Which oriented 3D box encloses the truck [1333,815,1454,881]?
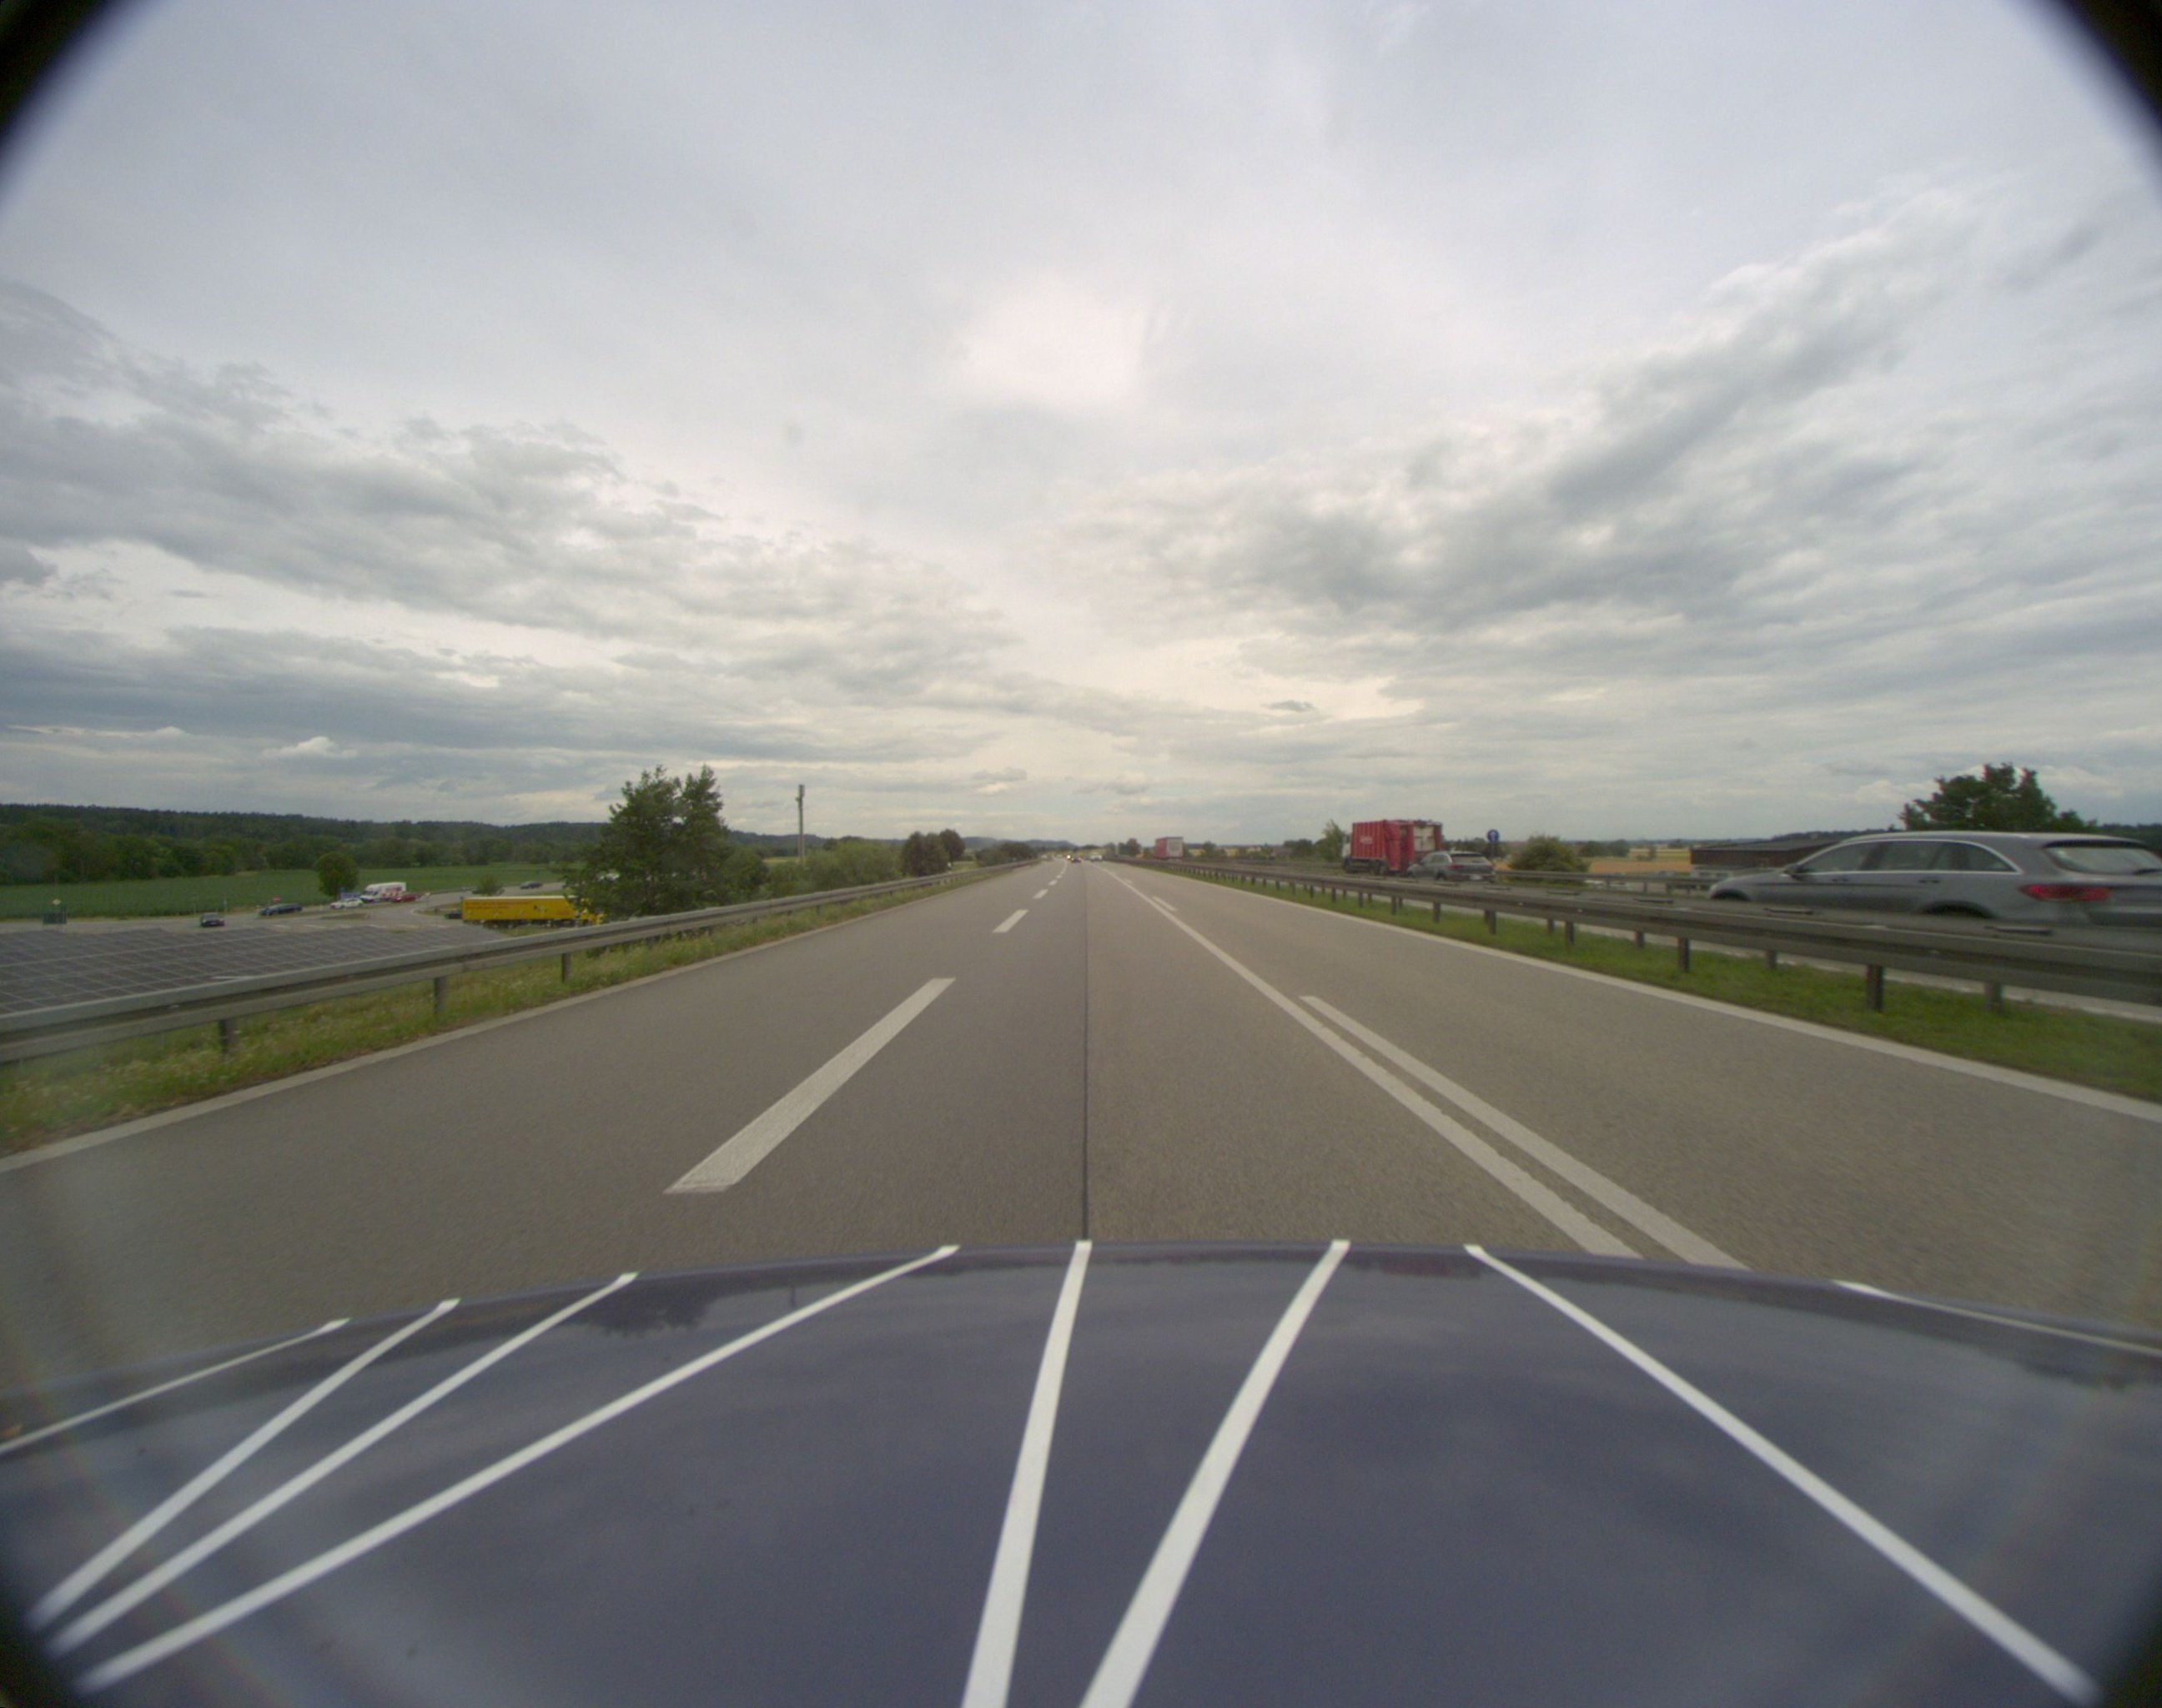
[{"bbox_3d":[18.790,-0.387,46.750,2.675,3.516,11.076,1,1,-1],"label":"truck"}]

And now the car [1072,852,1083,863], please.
[{"bbox_3d":[-0.570,0.604,133.081,1.850,1.850,4.000,0,0,0],"label":"car"}]

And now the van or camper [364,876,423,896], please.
[{"bbox_3d":[-120.616,5.594,133.501,2.798,2.891,7.132,-5,0,13],"label":"van or camper"}]

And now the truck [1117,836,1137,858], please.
[{"bbox_3d":[12.270,-1.877,204.780,4.334,5.528,14.037,-2,1,0],"label":"truck"}]

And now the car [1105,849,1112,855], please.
[{"bbox_3d":[8.086,-0.548,224.178,1.850,1.850,4.000,0,0,0],"label":"car"}]

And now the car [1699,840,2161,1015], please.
[{"bbox_3d":[10.362,0.654,9.221,1.896,1.579,4.762,0,0,1],"label":"car"}]

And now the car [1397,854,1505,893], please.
[{"bbox_3d":[13.883,0.665,28.889,1.830,1.338,4.783,0,0,1],"label":"car"}]

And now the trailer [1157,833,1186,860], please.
[{"bbox_3d":[14.340,-1.206,121.614,2.916,3.918,13.974,-2,1,0],"label":"trailer"}]

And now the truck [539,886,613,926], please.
[{"bbox_3d":[-63.837,6.575,96.210,7.137,4.759,3.018,-1,0,-3],"label":"truck"}]

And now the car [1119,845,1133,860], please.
[{"bbox_3d":[9.749,-0.349,164.637,2.545,3.252,7.208,-2,1,0],"label":"car"}]

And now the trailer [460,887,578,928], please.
[{"bbox_3d":[-70.752,6.688,95.832,12.303,4.759,3.018,-1,0,-3],"label":"trailer"}]

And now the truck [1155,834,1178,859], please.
[{"bbox_3d":[14.328,-1.265,127.866,2.917,3.924,6.324,-2,1,0],"label":"truck"}]

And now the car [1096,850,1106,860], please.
[{"bbox_3d":[3.609,0.156,136.631,1.850,1.665,4.200,0,0,2],"label":"car"}]

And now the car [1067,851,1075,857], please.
[{"bbox_3d":[-2.469,0.045,198.010,1.850,1.655,4.001,0,0,2],"label":"car"}]

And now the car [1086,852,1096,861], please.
[{"bbox_3d":[2.341,0.603,175.929,1.998,2.002,4.000,-2,1,3],"label":"car"}]
